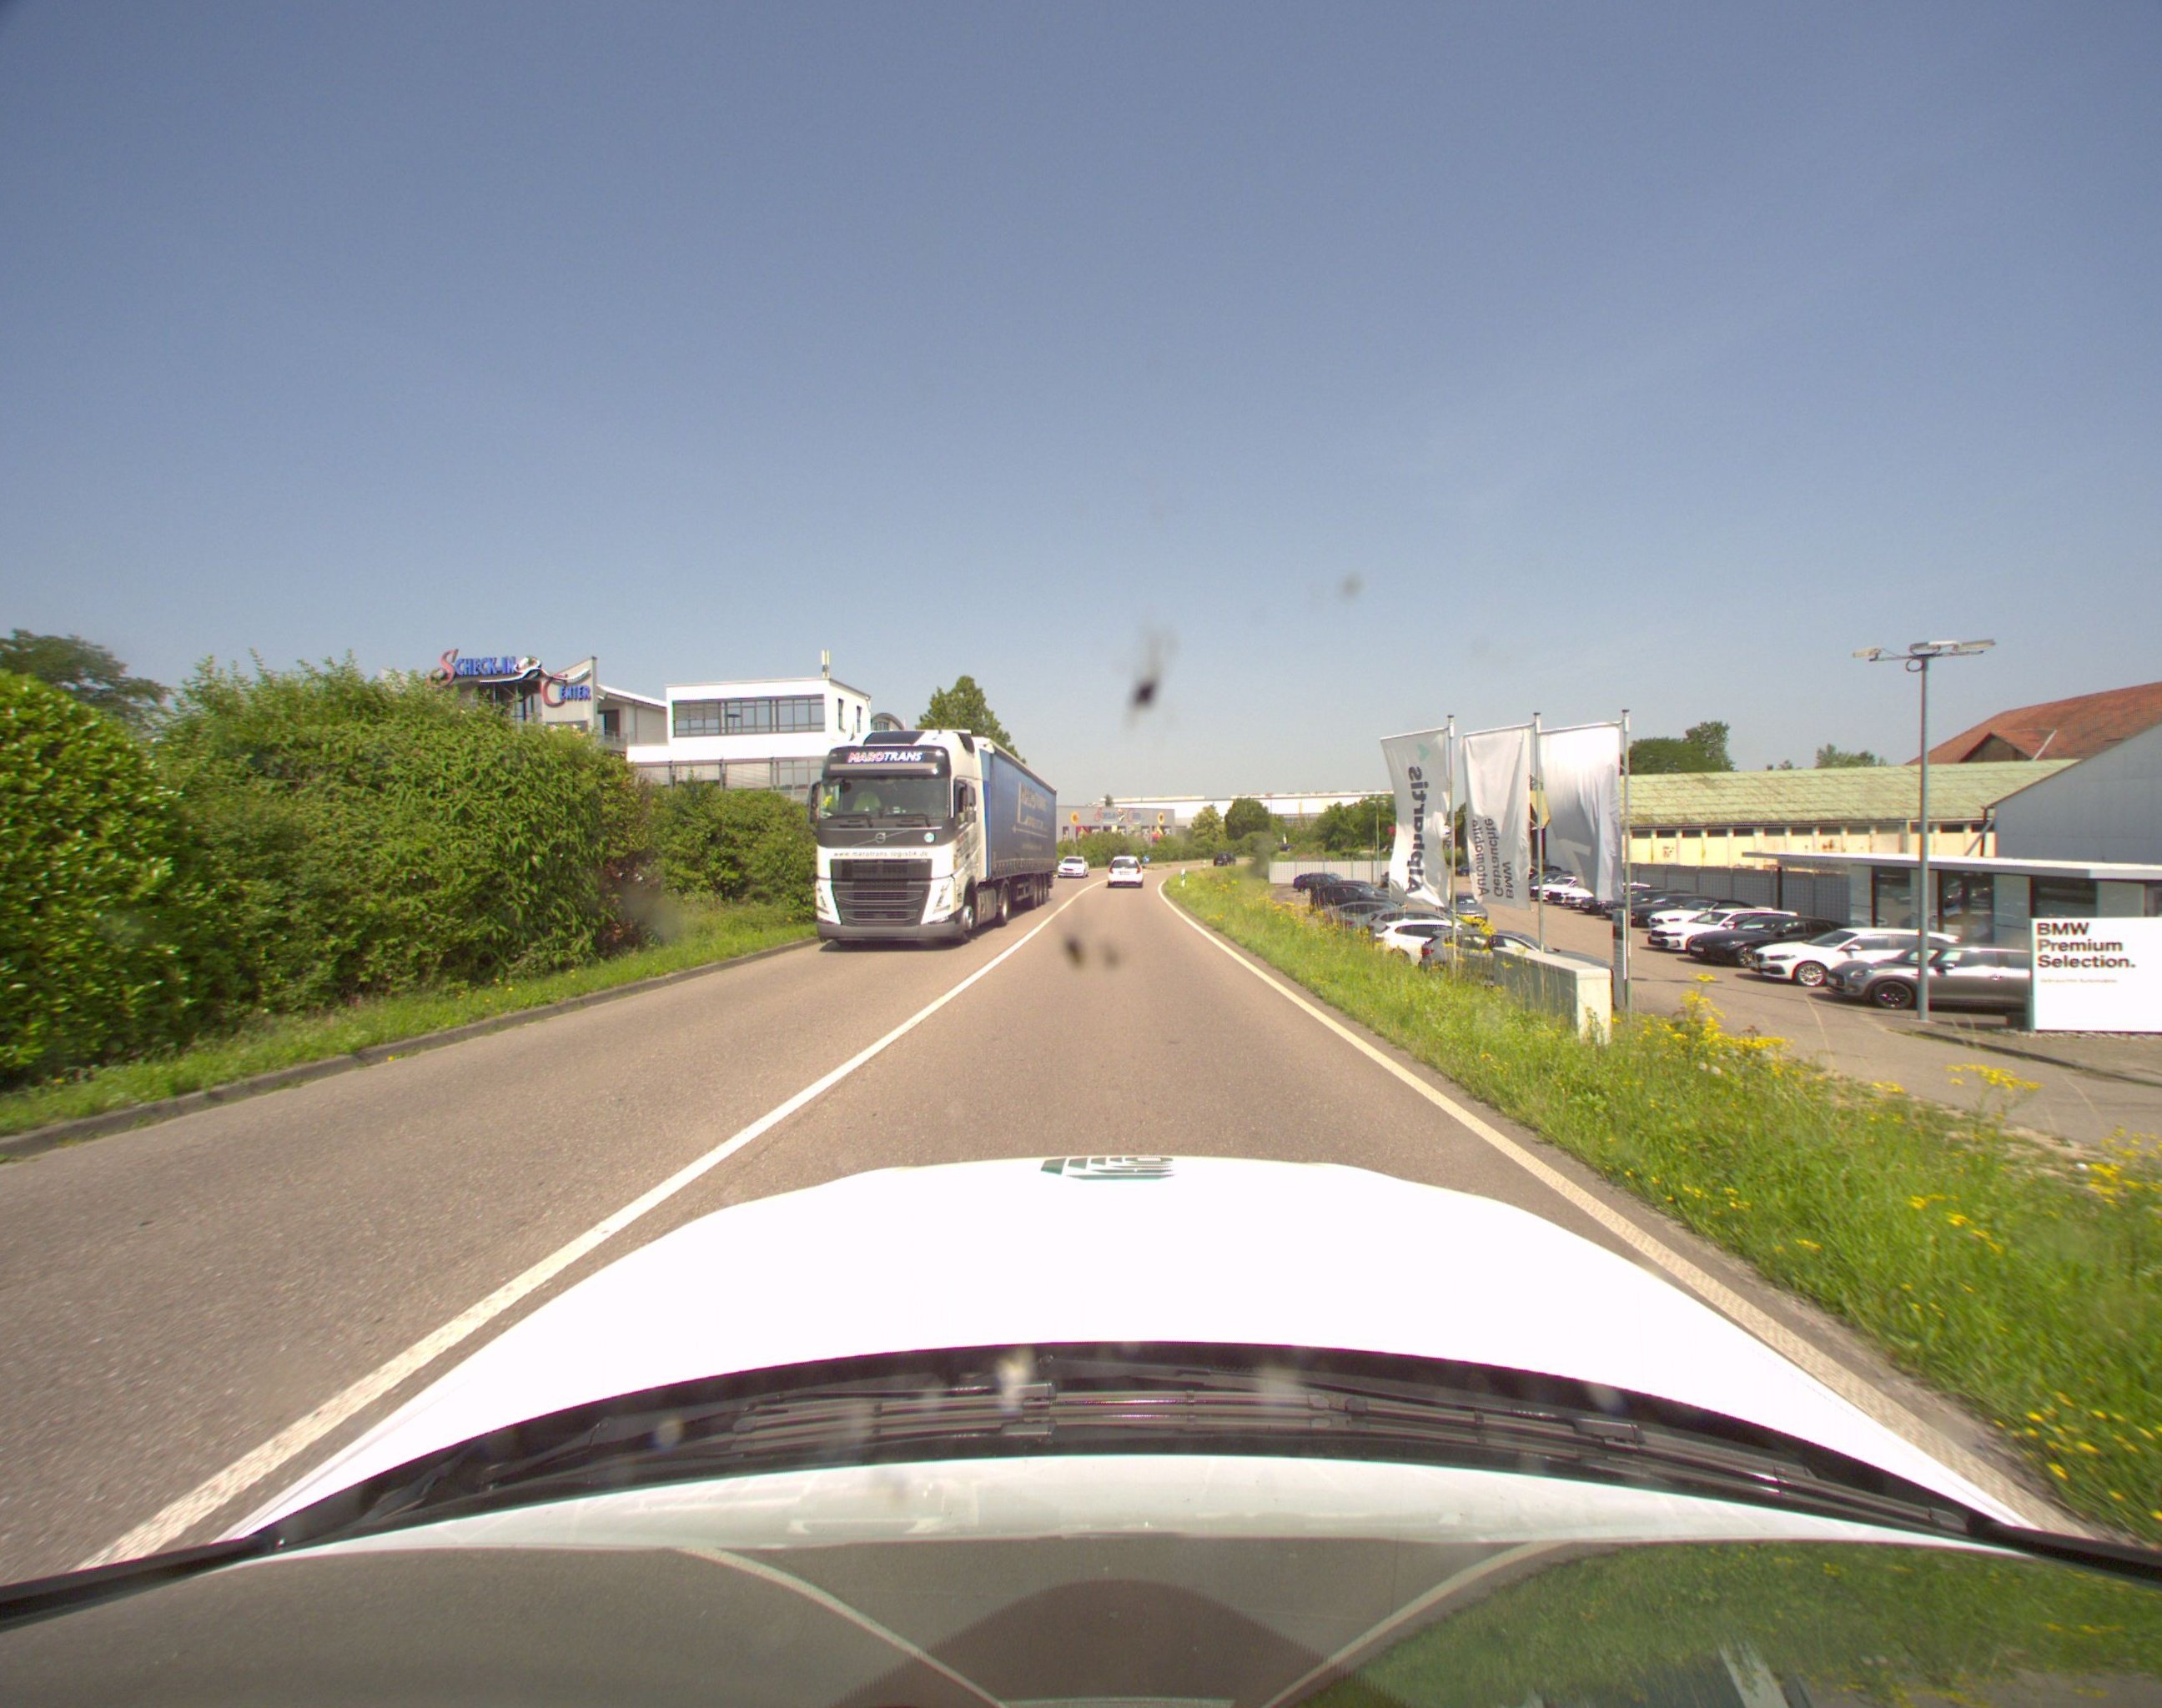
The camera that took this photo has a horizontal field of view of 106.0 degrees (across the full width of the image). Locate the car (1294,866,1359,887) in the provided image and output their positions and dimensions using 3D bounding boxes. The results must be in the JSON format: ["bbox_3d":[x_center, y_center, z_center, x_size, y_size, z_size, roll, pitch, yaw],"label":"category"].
[{"bbox_3d":[19.514,1.767,64.819,4.583,1.498,1.868,0,2,33],"label":"car"}]

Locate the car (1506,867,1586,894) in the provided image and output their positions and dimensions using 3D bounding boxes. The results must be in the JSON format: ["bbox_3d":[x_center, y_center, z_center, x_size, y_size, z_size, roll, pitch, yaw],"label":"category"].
[{"bbox_3d":[30.553,1.730,53.543,4.323,1.576,1.906,-1,1,-9],"label":"car"}]

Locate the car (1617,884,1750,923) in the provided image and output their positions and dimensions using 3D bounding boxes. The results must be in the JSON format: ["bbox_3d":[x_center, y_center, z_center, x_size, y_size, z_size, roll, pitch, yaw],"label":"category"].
[{"bbox_3d":[26.602,2.161,36.072,4.595,1.523,1.929,-1,0,-4],"label":"car"}]

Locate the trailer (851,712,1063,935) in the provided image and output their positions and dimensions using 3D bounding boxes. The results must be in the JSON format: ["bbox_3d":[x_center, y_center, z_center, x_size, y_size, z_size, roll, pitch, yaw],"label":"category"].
[{"bbox_3d":[-2.536,-0.573,22.804,2.658,4.241,14.581,0,0,4],"label":"trailer"}]

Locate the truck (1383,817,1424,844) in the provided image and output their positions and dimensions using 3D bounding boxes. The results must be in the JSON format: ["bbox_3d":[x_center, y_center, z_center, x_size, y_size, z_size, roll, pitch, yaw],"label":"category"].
[{"bbox_3d":[50.074,-3.582,126.371,6.750,4.030,2.859,0,0,-36],"label":"truck"}]

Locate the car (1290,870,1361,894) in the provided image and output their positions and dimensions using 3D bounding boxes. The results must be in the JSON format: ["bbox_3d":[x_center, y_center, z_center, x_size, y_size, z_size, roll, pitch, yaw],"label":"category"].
[{"bbox_3d":[17.600,1.981,58.770,4.584,1.605,1.868,0,0,30],"label":"car"}]

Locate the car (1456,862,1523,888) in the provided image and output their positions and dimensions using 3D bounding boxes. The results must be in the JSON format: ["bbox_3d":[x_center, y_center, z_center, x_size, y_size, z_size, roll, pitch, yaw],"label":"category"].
[{"bbox_3d":[31.700,1.621,63.195,4.323,1.804,1.993,-1,1,-9],"label":"car"}]

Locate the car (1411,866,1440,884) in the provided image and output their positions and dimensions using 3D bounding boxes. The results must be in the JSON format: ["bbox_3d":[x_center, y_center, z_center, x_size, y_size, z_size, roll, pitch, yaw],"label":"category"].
[{"bbox_3d":[29.137,1.750,68.851,1.975,1.398,4.024,0,0,27],"label":"car"}]

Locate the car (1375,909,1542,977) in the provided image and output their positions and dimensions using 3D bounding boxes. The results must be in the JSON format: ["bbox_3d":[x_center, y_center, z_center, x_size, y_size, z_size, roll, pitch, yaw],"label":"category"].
[{"bbox_3d":[10.650,2.431,23.045,4.119,1.523,1.762,0,0,31],"label":"car"}]

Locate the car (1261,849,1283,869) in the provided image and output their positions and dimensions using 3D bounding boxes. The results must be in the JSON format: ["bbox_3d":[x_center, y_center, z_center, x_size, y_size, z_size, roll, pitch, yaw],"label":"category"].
[{"bbox_3d":[19.353,0.521,82.307,1.978,2.014,4.017,0,0,16],"label":"car"}]

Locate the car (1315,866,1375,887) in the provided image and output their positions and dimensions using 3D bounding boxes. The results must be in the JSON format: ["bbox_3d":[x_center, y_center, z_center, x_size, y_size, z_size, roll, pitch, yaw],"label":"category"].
[{"bbox_3d":[21.714,1.837,67.119,1.853,1.502,4.320,-2,2,-44],"label":"car"}]

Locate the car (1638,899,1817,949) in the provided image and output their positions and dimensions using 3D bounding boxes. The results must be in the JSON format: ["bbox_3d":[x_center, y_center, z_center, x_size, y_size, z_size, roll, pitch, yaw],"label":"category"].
[{"bbox_3d":[21.799,2.351,27.633,4.402,1.523,1.936,-1,0,7],"label":"car"}]

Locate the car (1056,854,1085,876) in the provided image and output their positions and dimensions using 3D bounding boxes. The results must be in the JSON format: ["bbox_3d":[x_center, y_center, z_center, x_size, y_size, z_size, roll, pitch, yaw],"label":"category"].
[{"bbox_3d":[-0.708,0.731,56.249,1.822,1.470,4.411,0,0,1],"label":"car"}]

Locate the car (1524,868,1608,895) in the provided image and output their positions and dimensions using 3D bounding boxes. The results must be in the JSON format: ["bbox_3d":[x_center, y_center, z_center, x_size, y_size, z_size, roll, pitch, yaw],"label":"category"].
[{"bbox_3d":[30.399,1.725,51.100,4.323,1.523,1.906,-1,1,-9],"label":"car"}]

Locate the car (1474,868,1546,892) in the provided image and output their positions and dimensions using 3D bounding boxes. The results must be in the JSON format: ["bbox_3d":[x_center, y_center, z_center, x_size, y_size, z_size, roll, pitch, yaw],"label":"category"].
[{"bbox_3d":[30.600,1.852,58.133,4.323,1.523,1.906,-1,1,-9],"label":"car"}]

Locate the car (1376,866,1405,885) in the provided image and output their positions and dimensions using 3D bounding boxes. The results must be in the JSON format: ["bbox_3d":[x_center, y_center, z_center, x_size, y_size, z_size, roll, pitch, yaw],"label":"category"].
[{"bbox_3d":[26.466,1.784,69.601,1.833,1.534,4.671,0,0,27],"label":"car"}]

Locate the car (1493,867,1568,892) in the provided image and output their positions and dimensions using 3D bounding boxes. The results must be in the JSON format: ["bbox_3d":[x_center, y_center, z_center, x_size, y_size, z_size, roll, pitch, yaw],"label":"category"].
[{"bbox_3d":[30.755,1.739,55.771,4.323,1.576,1.906,-1,1,-9],"label":"car"}]

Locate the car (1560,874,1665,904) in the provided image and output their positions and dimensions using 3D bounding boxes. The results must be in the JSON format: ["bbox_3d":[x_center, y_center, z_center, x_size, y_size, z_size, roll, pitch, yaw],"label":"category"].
[{"bbox_3d":[29.434,1.938,45.179,4.637,1.523,1.909,-1,0,-4],"label":"car"}]

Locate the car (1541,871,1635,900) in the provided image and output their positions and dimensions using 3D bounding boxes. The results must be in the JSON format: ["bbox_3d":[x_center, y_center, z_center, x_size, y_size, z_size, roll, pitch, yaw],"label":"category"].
[{"bbox_3d":[29.955,1.822,48.174,4.597,1.523,1.906,-1,1,-9],"label":"car"}]

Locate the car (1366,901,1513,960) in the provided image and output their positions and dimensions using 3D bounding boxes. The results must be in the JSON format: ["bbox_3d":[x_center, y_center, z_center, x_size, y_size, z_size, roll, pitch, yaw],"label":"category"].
[{"bbox_3d":[11.443,2.374,26.012,4.119,1.523,1.868,0,0,30],"label":"car"}]

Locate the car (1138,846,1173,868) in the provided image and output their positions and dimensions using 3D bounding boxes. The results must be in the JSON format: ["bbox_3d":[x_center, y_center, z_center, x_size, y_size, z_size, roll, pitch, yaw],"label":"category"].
[{"bbox_3d":[7.031,0.282,76.175,1.975,2.014,4.023,0,0,26],"label":"car"}]

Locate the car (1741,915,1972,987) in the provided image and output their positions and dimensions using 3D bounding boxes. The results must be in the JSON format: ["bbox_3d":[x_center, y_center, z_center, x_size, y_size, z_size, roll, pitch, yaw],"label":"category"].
[{"bbox_3d":[19.695,2.425,20.914,3.923,1.523,1.761,-1,-1,22],"label":"car"}]

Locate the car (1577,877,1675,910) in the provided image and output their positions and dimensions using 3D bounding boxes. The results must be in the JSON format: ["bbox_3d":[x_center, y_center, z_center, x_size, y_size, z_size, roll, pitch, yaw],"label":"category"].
[{"bbox_3d":[27.978,2.015,41.869,3.989,1.523,1.756,-1,0,-4],"label":"car"}]

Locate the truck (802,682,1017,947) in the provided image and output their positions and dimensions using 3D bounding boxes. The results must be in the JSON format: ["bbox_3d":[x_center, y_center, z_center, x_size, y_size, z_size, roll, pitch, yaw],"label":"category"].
[{"bbox_3d":[-3.044,-0.620,16.327,2.501,4.257,6.120,-1,0,4],"label":"truck"}]

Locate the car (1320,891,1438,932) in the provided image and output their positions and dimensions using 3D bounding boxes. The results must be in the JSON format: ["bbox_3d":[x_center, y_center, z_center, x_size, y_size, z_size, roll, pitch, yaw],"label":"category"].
[{"bbox_3d":[13.054,2.458,35.760,4.583,1.523,1.868,0,0,33],"label":"car"}]

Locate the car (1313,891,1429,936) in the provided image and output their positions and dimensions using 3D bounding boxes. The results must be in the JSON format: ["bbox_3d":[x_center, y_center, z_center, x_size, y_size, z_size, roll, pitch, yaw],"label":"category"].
[{"bbox_3d":[11.668,2.344,32.845,4.119,1.523,1.868,0,0,31],"label":"car"}]

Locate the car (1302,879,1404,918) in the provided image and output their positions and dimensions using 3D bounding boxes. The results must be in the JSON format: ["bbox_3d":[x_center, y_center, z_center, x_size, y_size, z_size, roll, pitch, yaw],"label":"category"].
[{"bbox_3d":[13.893,2.216,41.711,4.583,1.700,1.868,0,2,35],"label":"car"}]

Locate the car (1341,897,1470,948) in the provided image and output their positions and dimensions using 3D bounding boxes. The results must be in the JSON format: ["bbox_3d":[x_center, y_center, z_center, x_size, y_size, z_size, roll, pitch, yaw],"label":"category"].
[{"bbox_3d":[11.734,2.415,29.500,4.119,1.523,1.868,0,0,31],"label":"car"}]

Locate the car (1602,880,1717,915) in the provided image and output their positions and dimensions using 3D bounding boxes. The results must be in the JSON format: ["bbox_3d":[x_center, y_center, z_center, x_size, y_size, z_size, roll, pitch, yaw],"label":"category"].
[{"bbox_3d":[27.630,2.049,38.973,4.305,1.523,1.794,-1,0,-4],"label":"car"}]

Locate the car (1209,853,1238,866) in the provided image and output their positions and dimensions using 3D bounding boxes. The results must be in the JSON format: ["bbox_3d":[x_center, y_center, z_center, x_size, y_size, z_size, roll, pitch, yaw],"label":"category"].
[{"bbox_3d":[15.797,0.618,90.208,1.811,1.470,4.437,0,0,30],"label":"car"}]

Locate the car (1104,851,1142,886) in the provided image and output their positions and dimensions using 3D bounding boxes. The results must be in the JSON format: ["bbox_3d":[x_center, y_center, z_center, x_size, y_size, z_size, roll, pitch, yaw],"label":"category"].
[{"bbox_3d":[2.142,0.723,42.095,1.774,1.603,3.895,3,1,2],"label":"car"}]

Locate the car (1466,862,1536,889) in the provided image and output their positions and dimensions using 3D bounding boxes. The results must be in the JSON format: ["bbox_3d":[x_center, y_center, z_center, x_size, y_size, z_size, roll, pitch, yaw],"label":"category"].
[{"bbox_3d":[31.071,1.585,60.324,4.323,1.804,1.906,-1,1,-9],"label":"car"}]

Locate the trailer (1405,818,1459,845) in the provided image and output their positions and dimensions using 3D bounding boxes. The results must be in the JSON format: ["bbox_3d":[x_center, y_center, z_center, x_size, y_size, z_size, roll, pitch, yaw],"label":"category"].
[{"bbox_3d":[55.827,-3.512,129.523,8.712,4.030,2.864,0,0,-26],"label":"trailer"}]

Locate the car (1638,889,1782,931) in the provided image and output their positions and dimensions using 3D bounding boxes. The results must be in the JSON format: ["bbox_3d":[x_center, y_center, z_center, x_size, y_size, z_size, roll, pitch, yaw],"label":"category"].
[{"bbox_3d":[25.767,2.262,33.454,4.595,1.523,1.929,-1,0,-4],"label":"car"}]

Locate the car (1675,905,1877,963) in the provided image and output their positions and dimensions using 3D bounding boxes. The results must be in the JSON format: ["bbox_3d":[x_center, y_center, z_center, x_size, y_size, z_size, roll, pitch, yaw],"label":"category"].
[{"bbox_3d":[20.769,2.376,24.493,4.408,1.523,1.933,-1,0,2],"label":"car"}]

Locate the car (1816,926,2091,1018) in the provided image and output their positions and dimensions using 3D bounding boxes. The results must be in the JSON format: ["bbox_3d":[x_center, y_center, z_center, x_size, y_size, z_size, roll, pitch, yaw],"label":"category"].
[{"bbox_3d":[18.840,2.488,17.852,3.755,1.523,1.762,0,0,29],"label":"car"}]

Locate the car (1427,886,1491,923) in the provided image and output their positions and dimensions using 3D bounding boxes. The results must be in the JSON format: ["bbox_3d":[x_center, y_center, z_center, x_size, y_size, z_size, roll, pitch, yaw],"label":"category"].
[{"bbox_3d":[18.110,2.386,39.229,2.119,1.457,4.550,0,0,15],"label":"car"}]

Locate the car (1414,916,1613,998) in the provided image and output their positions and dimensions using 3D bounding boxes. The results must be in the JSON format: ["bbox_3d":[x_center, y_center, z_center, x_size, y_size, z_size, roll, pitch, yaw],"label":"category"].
[{"bbox_3d":[10.503,2.423,19.894,4.118,1.523,1.701,0,0,35],"label":"car"}]
